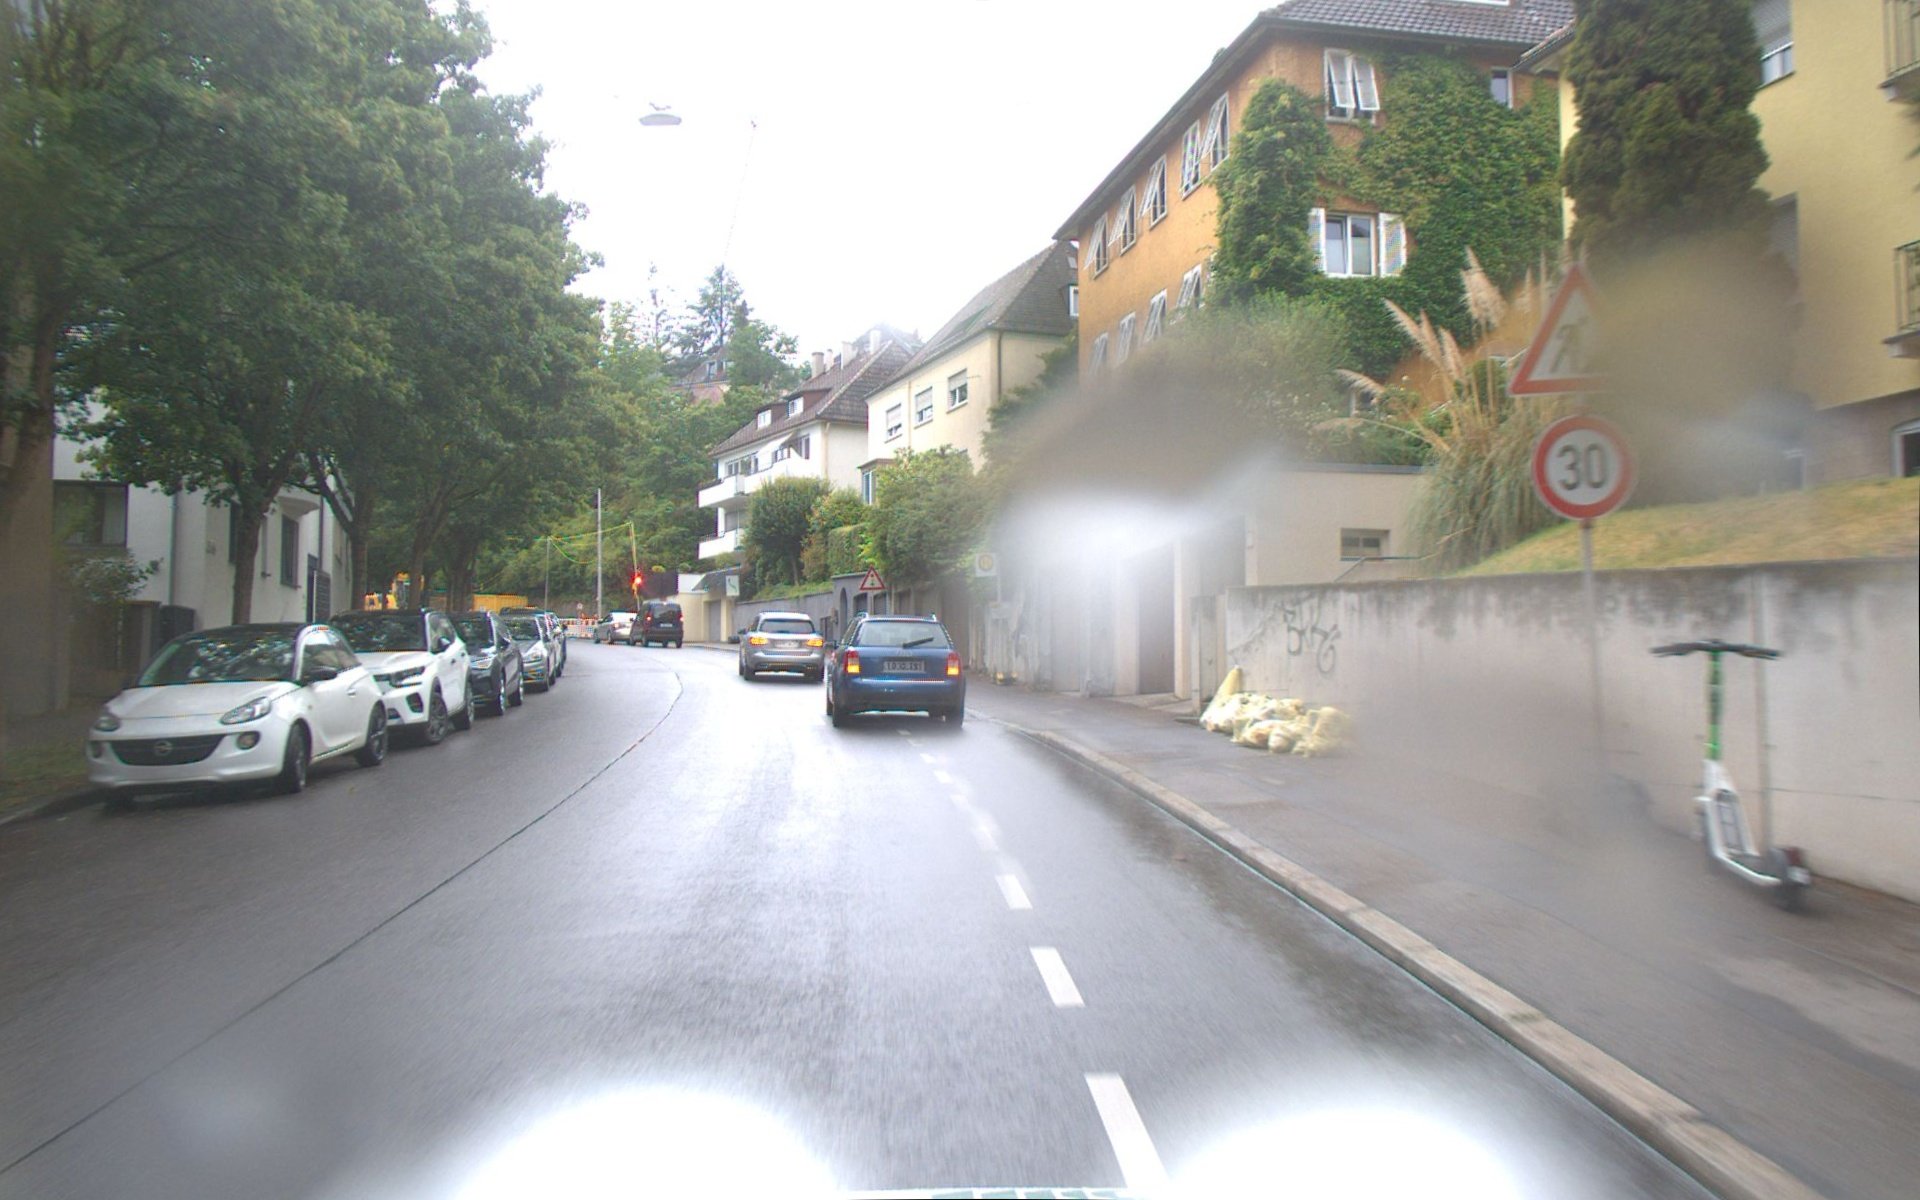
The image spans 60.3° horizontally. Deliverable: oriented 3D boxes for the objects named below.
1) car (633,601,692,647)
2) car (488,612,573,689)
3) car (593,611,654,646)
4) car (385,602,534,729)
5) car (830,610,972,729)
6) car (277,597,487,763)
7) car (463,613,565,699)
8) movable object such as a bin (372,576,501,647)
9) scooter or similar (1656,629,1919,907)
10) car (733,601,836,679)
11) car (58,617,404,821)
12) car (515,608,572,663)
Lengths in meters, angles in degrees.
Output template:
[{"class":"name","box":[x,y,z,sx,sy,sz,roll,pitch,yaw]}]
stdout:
[{"class":"car","box":[-12.537,0.980,69.494,1.962,1.825,3.981,-1,0,-17]},{"class":"car","box":[-9.500,1.079,36.754,1.546,1.514,3.460,-3,1,-11]},{"class":"car","box":[-15.211,1.251,74.643,1.700,1.512,4.041,-1,0,-27]},{"class":"car","box":[-7.598,0.961,25.425,1.589,1.687,3.915,-4,0,-9]},{"class":"car","box":[-0.834,0.879,22.452,1.750,1.467,3.961,0,-1,-3]},{"class":"car","box":[-6.951,0.907,20.262,1.563,1.687,3.916,-5,0,-8]},{"class":"car","box":[-8.810,1.082,32.921,1.589,1.496,3.961,-3,-1,-11]},{"class":"movable object such as a bin","box":[-31.274,0.671,98.830,7.154,4.085,2.828,1,0,22]},{"class":"scooter or similar","box":[3.889,0.730,7.777,0.586,1.152,1.370,-1,0,-2]},{"class":"car","box":[-4.035,0.870,37.422,1.892,1.646,4.308,1,0,-12]},{"class":"car","box":[-6.564,0.985,15.338,1.586,1.496,3.666,-5,0,-2]},{"class":"car","box":[-12.702,1.095,50.491,1.529,1.514,4.082,-3,0,-14]}]
